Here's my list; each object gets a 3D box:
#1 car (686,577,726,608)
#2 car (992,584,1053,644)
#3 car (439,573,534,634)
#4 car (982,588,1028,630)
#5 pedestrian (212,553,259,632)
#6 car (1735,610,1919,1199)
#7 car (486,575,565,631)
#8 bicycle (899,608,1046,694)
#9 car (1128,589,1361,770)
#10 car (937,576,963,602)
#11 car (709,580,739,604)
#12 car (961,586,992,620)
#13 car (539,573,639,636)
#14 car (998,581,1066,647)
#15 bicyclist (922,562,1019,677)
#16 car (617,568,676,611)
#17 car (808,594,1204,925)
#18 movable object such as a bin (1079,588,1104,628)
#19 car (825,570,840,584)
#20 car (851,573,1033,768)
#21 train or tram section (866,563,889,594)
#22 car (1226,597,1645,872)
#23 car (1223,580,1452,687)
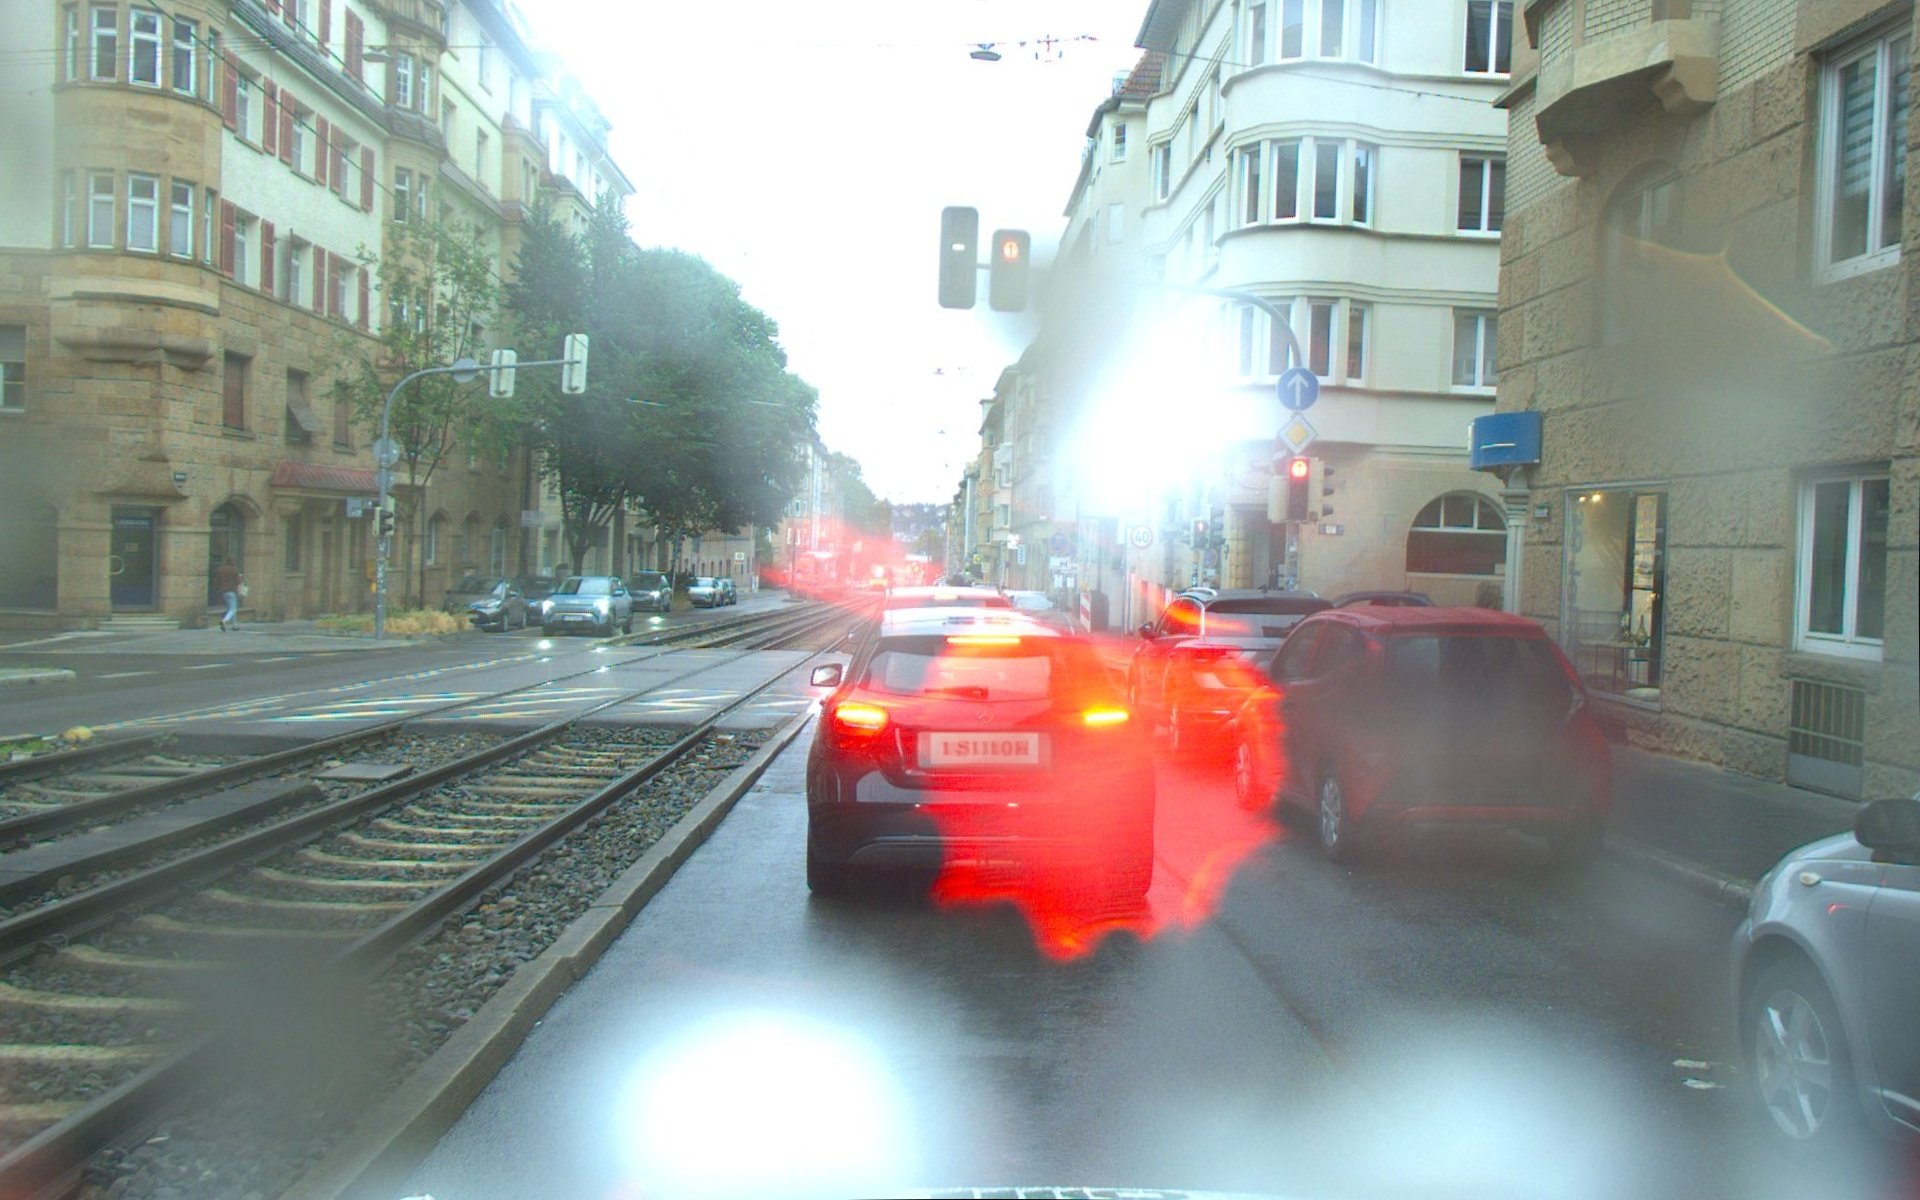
[{"bbox_3d":[-13.672,-0.402,89.177,1.557,1.608,3.917,1,0,-1],"label":"car"},{"bbox_3d":[1.757,0.368,47.352,1.513,1.618,3.547,1,0,-1],"label":"car"},{"bbox_3d":[-13.024,0.113,45.706,1.718,1.579,4.032,1,0,-4],"label":"car"},{"bbox_3d":[1.651,0.315,61.761,1.513,1.512,3.547,1,0,-1],"label":"car"},{"bbox_3d":[-15.754,-0.166,35.990,0.617,1.702,0.703,1,-1,9],"label":"pedestrian"},{"bbox_3d":[3.115,0.784,3.313,1.581,1.493,3.312,0,0,0],"label":"car"},{"bbox_3d":[-13.288,0.094,50.733,1.683,1.639,3.914,1,0,-5],"label":"car"},{"bbox_3d":[0.177,0.730,24.028,1.995,1.207,0.824,1,-1,-12],"label":"bicycle"},{"bbox_3d":[2.621,0.672,16.008,1.513,1.512,3.829,1,0,-1],"label":"car"},{"bbox_3d":[-0.767,-0.851,125.729,1.953,1.909,3.999,1,0,-1],"label":"car"},{"bbox_3d":[-14.040,-0.459,98.582,1.419,1.354,3.270,1,0,-3],"label":"car"},{"bbox_3d":[0.709,0.120,73.818,1.268,1.467,2.928,1,0,-1],"label":"car"},{"bbox_3d":[-10.059,0.131,45.138,1.860,1.615,3.972,1,0,-1],"label":"car"},{"bbox_3d":[1.827,0.342,42.878,1.513,1.618,3.547,1,0,-1],"label":"car"},{"bbox_3d":[0.143,0.288,24.017,1.227,1.625,0.884,1,-1,-12],"label":"bicyclist"},{"bbox_3d":[-13.575,-0.430,71.716,1.837,1.767,3.917,1,0,-1],"label":"car"},{"bbox_3d":[0.182,0.727,9.663,1.792,1.483,4.103,1,0,-1],"label":"car"},{"bbox_3d":[4.751,0.294,59.856,0.859,1.413,0.983,1,-1,3],"label":"movable object such as a bin"},{"bbox_3d":[-12.359,-2.272,160.656,1.349,1.271,3.296,1,0,-2],"label":"car"},{"bbox_3d":[-0.185,0.611,16.047,1.533,1.637,3.813,1,0,-1],"label":"car"},{"bbox_3d":[-11.258,-2.910,225.433,2.726,3.928,10.427,1,0,-1],"label":"train or tram section"},{"bbox_3d":[2.897,0.744,10.773,1.609,1.473,3.297,1,0,-3],"label":"car"},{"bbox_3d":[6.329,0.547,28.019,3.596,1.664,1.551,1,0,6],"label":"car"}]
